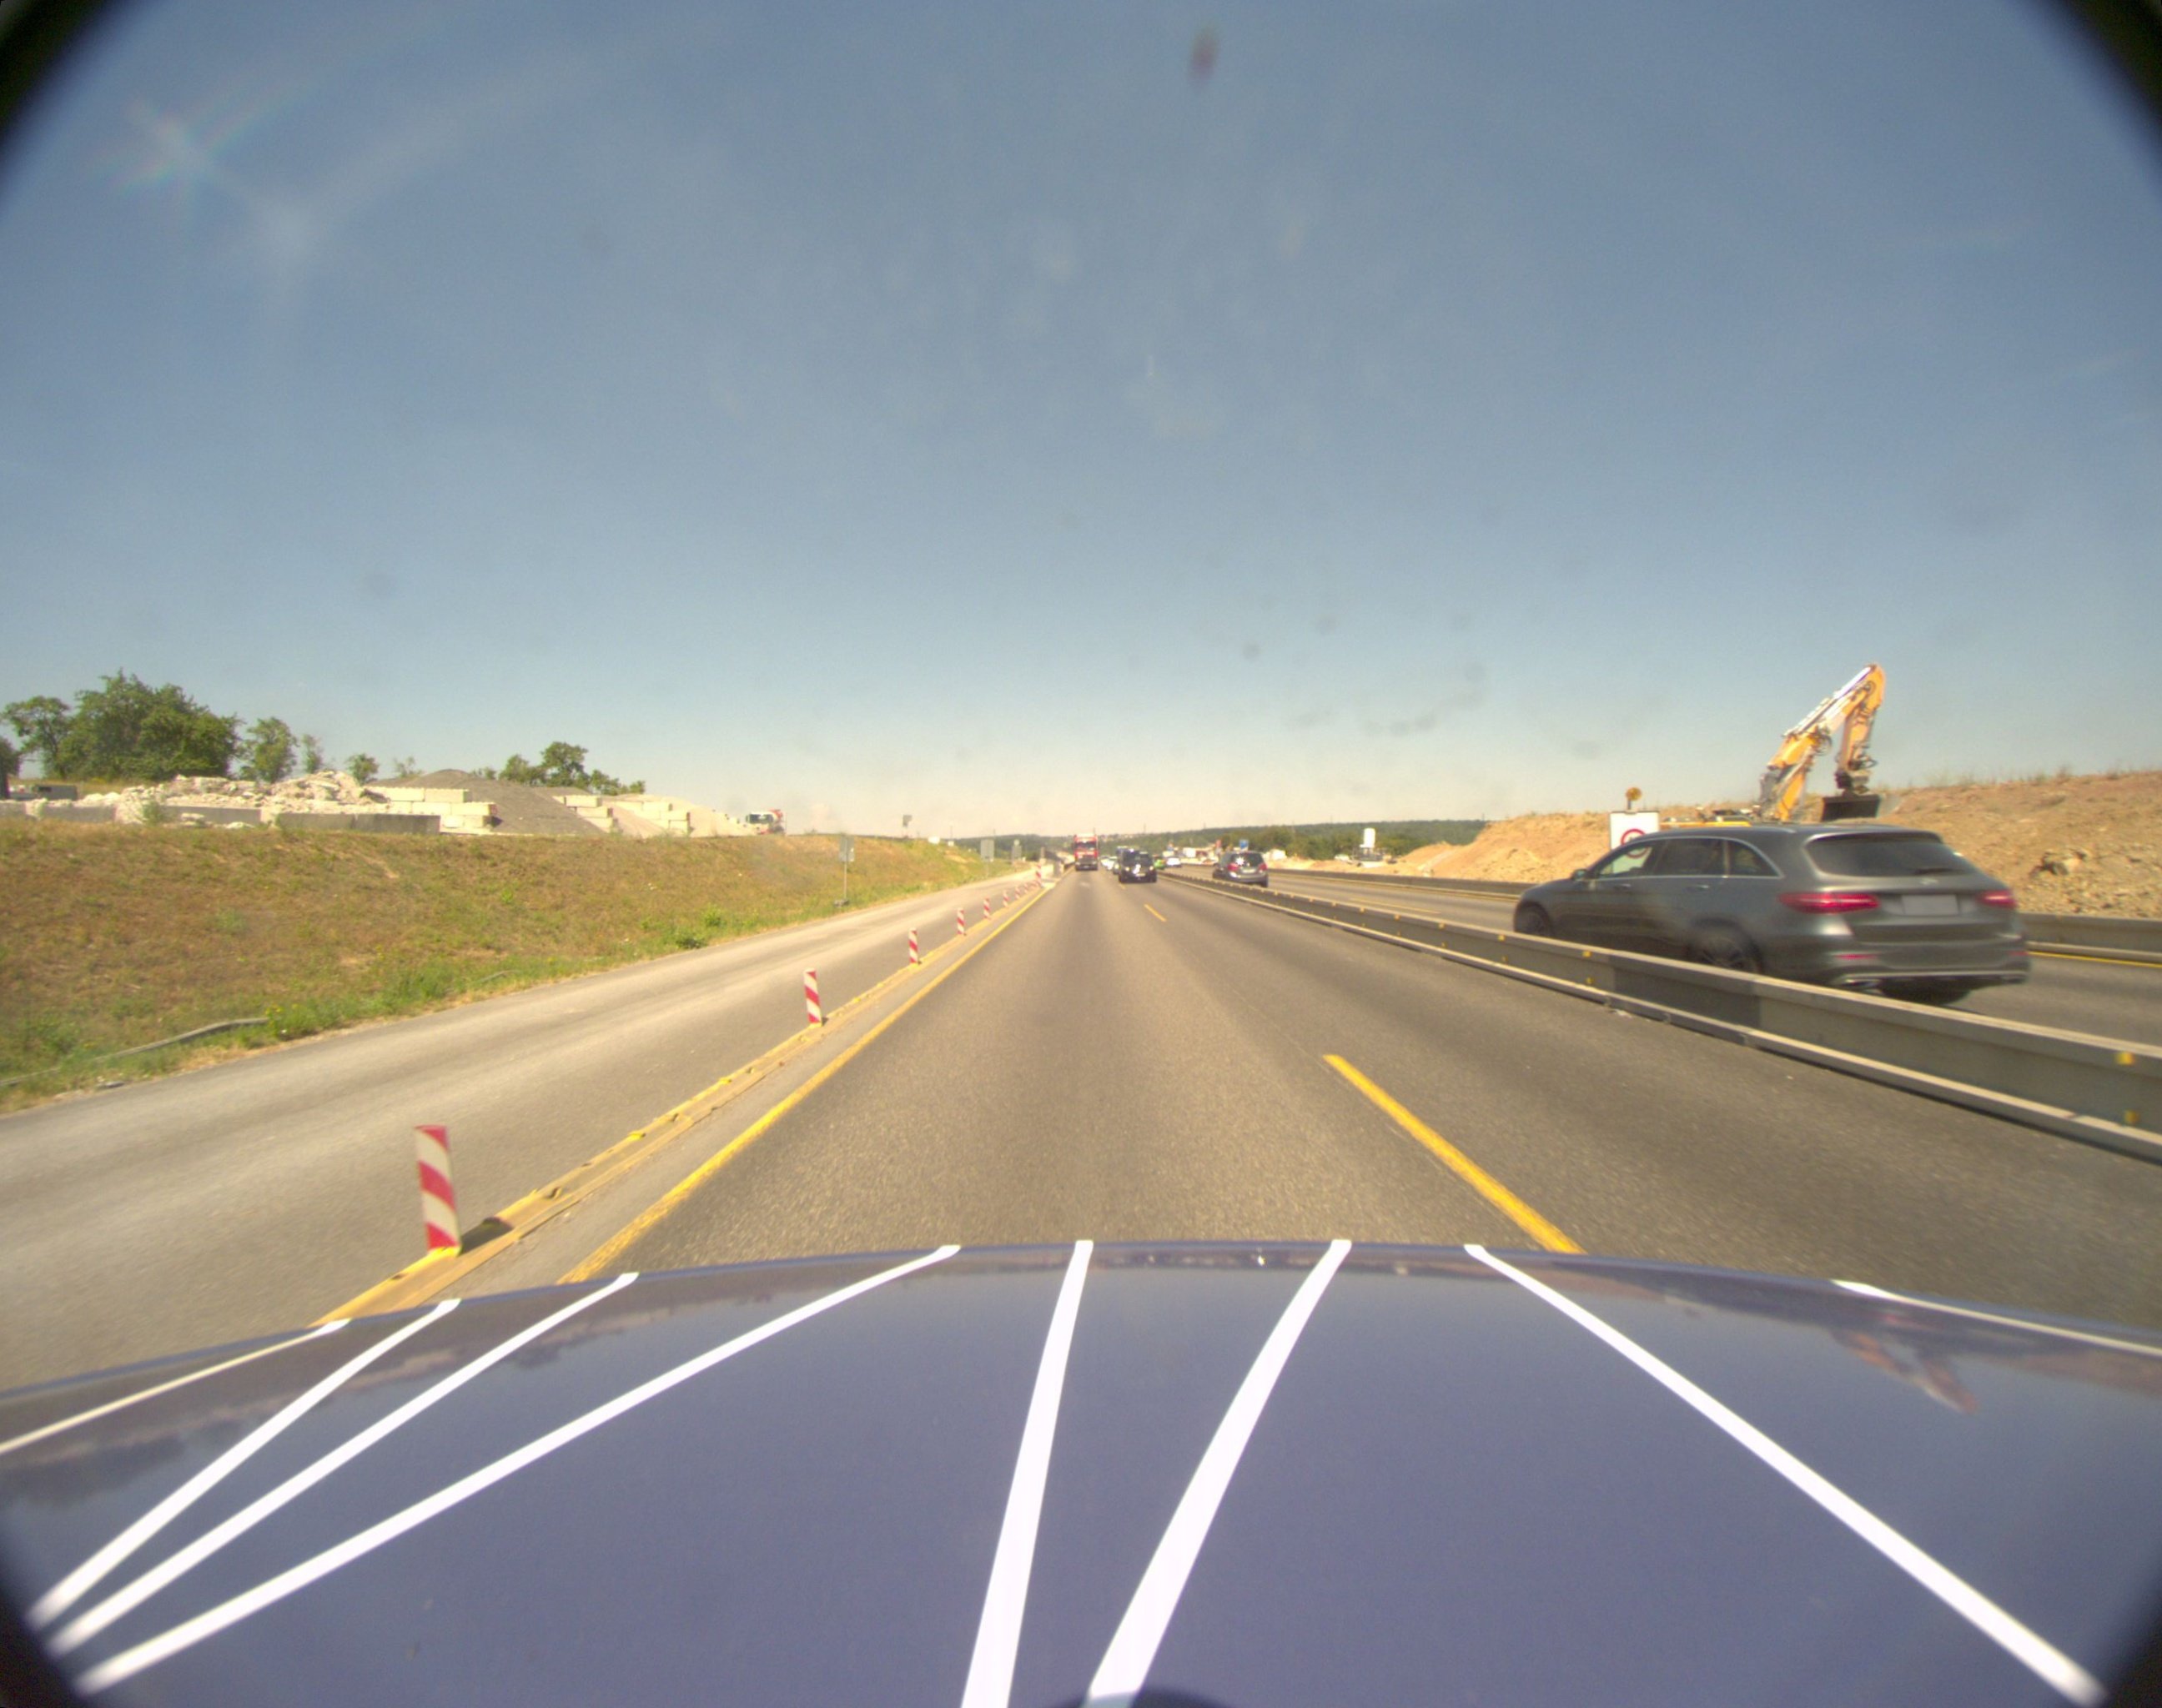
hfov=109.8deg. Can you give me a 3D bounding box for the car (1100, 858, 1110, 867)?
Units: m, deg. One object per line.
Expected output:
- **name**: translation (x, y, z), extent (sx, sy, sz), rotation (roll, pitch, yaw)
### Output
- **car**: translation (4.045, 1.463, 127.182), extent (1.601, 1.390, 3.695), rotation (-2, 1, 1)

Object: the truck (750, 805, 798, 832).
- **truck**: translation (-36.070, -4.126, 89.570), extent (2.223, 2.803, 9.061), rotation (-2, 1, -2)

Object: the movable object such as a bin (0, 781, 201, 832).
- **movable object such as a bin**: translation (-15.982, -0.735, 12.284), extent (0.838, 0.678, 2.249), rotation (-2, 1, 1)

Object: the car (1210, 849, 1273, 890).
- **car**: translation (6.735, 0.641, 32.335), extent (1.770, 1.556, 4.226), rotation (-2, 0, 1)

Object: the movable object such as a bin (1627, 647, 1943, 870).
- **movable object such as a bin**: translation (24.765, -3.177, 27.187), extent (7.378, 7.073, 4.081), rotation (-2, 1, 1)

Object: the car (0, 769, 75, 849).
- **car**: translation (-25.713, -1.021, 16.814), extent (1.990, 1.752, 3.601), rotation (-2, 1, 0)

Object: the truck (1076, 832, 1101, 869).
- **truck**: translation (0.912, -0.431, 85.758), extent (2.537, 3.798, 9.481), rotation (-2, 1, 2)

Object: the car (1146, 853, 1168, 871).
- **car**: translation (7.027, 0.732, 70.427), extent (1.697, 1.517, 3.406), rotation (-2, 0, 1)

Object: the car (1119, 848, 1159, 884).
- **car**: translation (3.247, 0.633, 43.337), extent (1.878, 1.840, 5.478), rotation (-2, 1, 1)

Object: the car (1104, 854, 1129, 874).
- **car**: translation (2.907, 0.825, 62.972), extent (1.804, 1.499, 4.100), rotation (-2, 0, 0)

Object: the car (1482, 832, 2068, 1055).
- **car**: translation (6.526, 0.654, 8.177), extent (1.873, 1.620, 4.885), rotation (-2, 1, 1)

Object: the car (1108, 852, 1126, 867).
- **car**: translation (3.879, 0.579, 82.398), extent (1.875, 1.390, 4.030), rotation (-2, 1, 1)

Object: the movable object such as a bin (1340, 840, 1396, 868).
- **movable object such as a bin**: translation (23.774, -0.065, 63.261), extent (2.321, 2.121, 6.143), rotation (-2, 1, 1)
